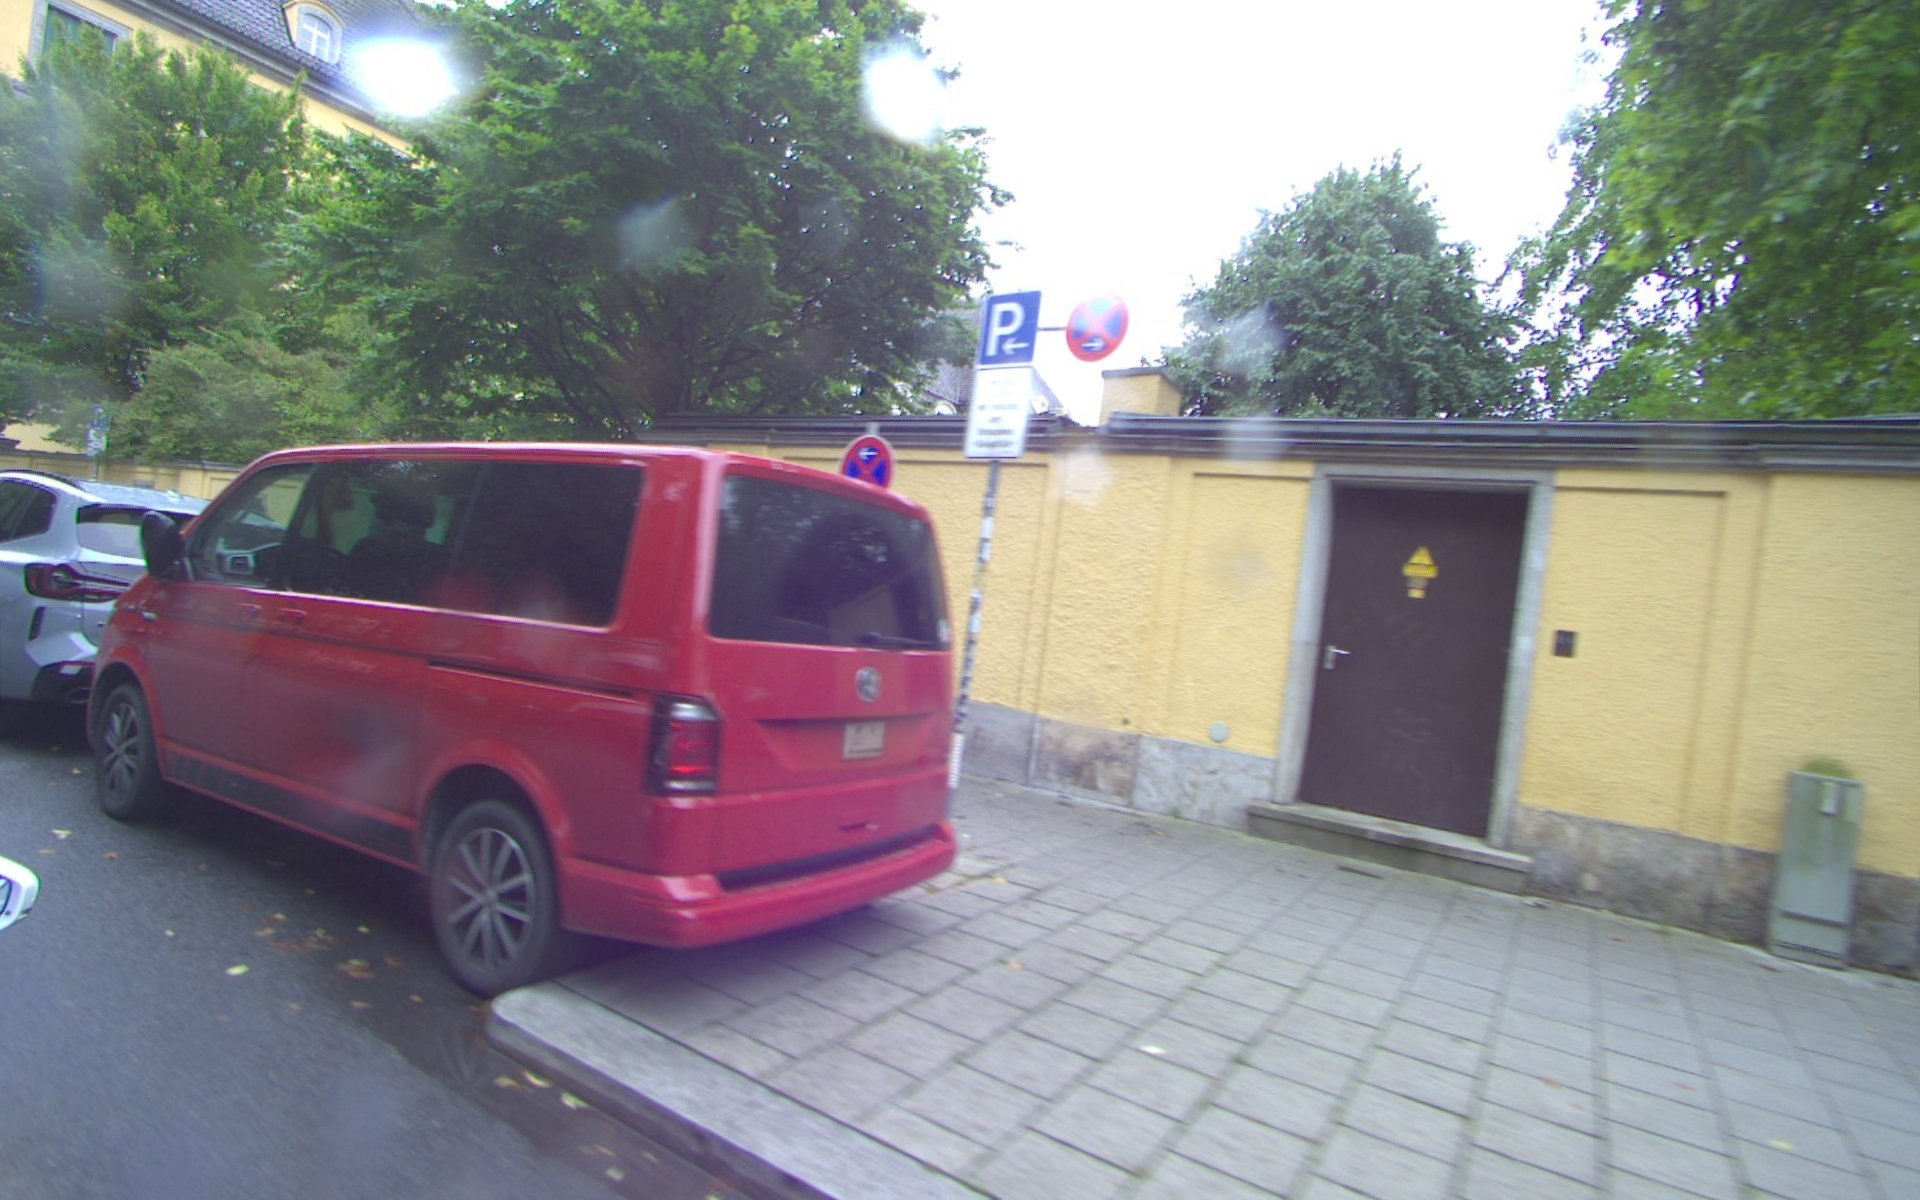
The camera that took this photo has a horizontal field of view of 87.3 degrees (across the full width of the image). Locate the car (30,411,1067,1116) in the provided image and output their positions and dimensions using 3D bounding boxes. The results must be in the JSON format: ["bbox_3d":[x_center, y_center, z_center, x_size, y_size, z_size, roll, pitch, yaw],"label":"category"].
[{"bbox_3d":[-2.200,0.297,4.862,4.885,1.961,1.914,7,0,30],"label":"car"}]

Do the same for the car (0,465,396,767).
[{"bbox_3d":[-6.545,-0.054,7.566,4.488,1.654,1.996,7,0,32],"label":"car"}]
